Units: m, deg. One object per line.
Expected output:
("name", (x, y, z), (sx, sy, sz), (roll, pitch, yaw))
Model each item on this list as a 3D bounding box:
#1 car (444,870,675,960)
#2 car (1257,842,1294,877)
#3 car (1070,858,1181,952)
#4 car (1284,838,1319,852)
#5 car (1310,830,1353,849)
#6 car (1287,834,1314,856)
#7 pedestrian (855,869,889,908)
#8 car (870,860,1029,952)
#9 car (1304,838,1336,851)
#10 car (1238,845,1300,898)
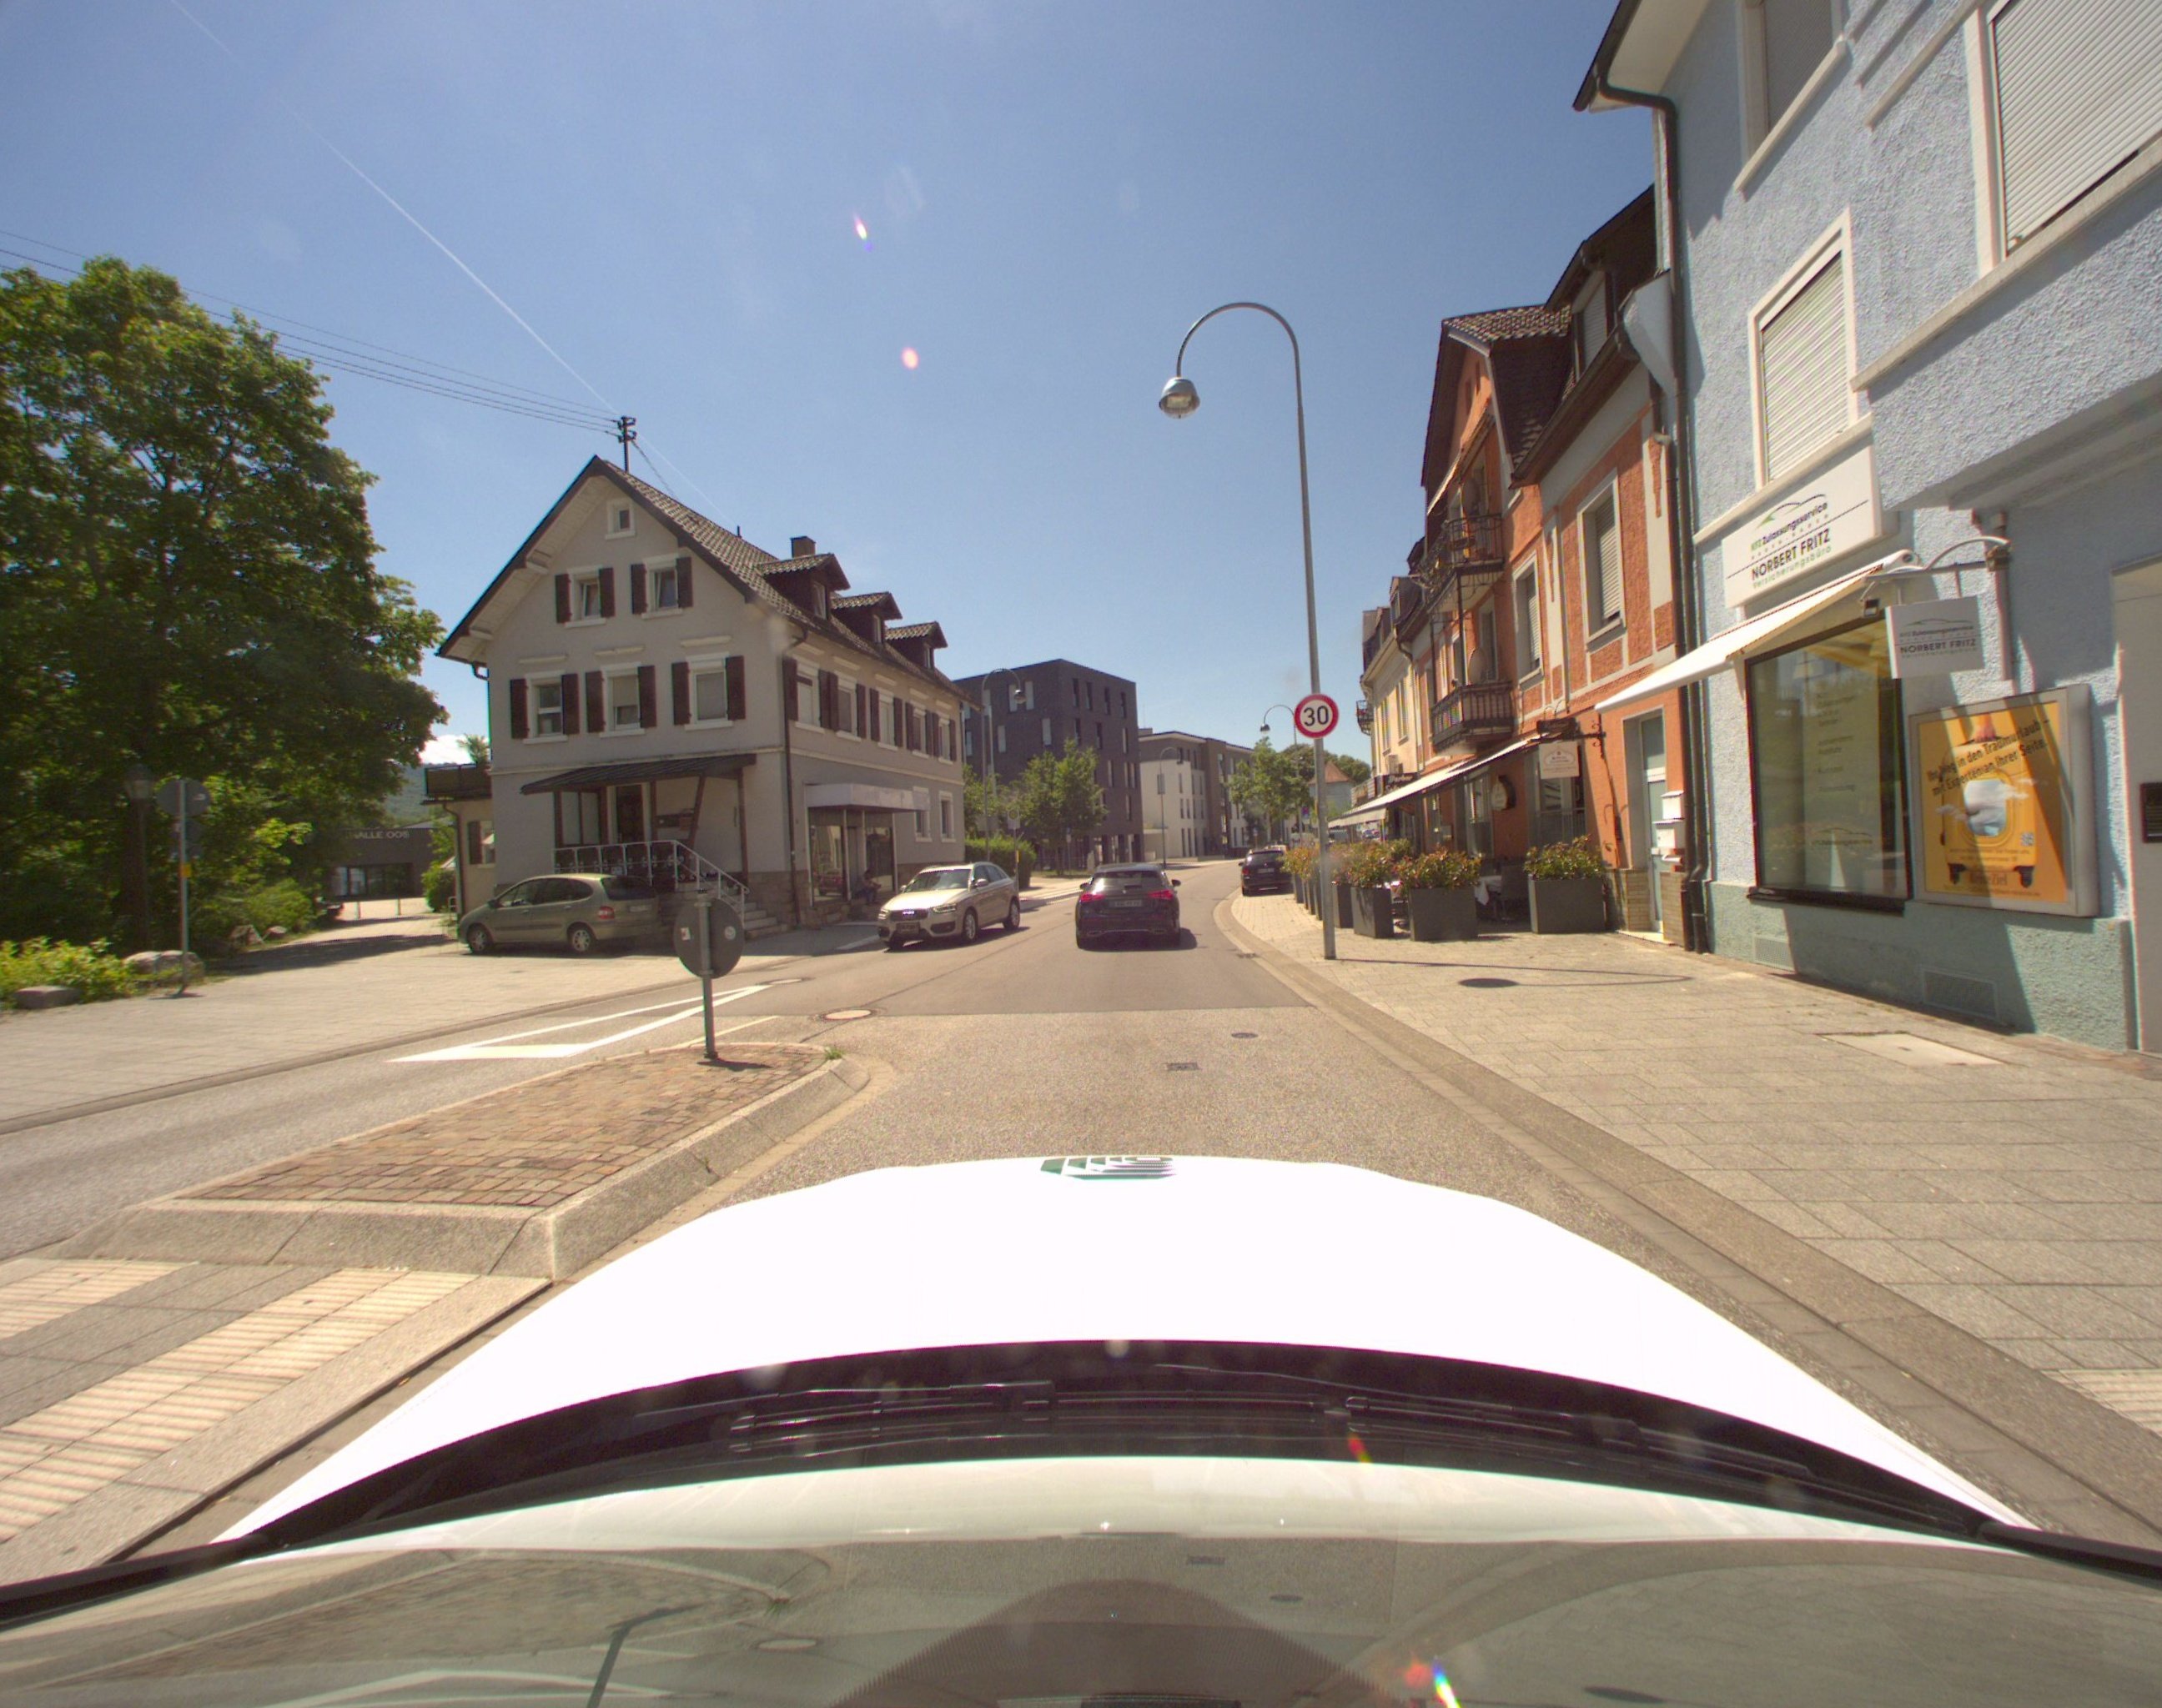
("car", (-10.920, 1.267, 17.153), (3.959, 1.640, 1.764), (-2, 0, 13))
("car", (9.696, 0.245, 40.728), (1.595, 1.530, 3.504), (-5, 0, 12))
("car", (0.960, 0.841, 15.497), (1.754, 1.457, 4.446), (-2, 0, 6))
("car", (29.162, -1.221, 107.546), (3.948, 1.662, 2.013), (-2, 0, 33))
("car", (37.875, -2.132, 123.012), (5.587, 2.579, 2.532), (-2, 0, 34))
("car", (21.766, -0.877, 80.792), (1.976, 2.013, 4.022), (-2, 0, 23))
("pedestrian", (-5.954, 0.983, 23.182), (0.666, 1.054, 0.701), (-2, 0, 9))
("car", (-2.614, 1.004, 17.266), (1.662, 1.543, 4.100), (-5, 0, 15))
("car", (34.893, -1.365, 118.770), (3.948, 1.662, 2.013), (-2, 0, 33))
("car", (6.347, 0.536, 27.446), (1.738, 1.486, 4.015), (-6, -1, 14))
